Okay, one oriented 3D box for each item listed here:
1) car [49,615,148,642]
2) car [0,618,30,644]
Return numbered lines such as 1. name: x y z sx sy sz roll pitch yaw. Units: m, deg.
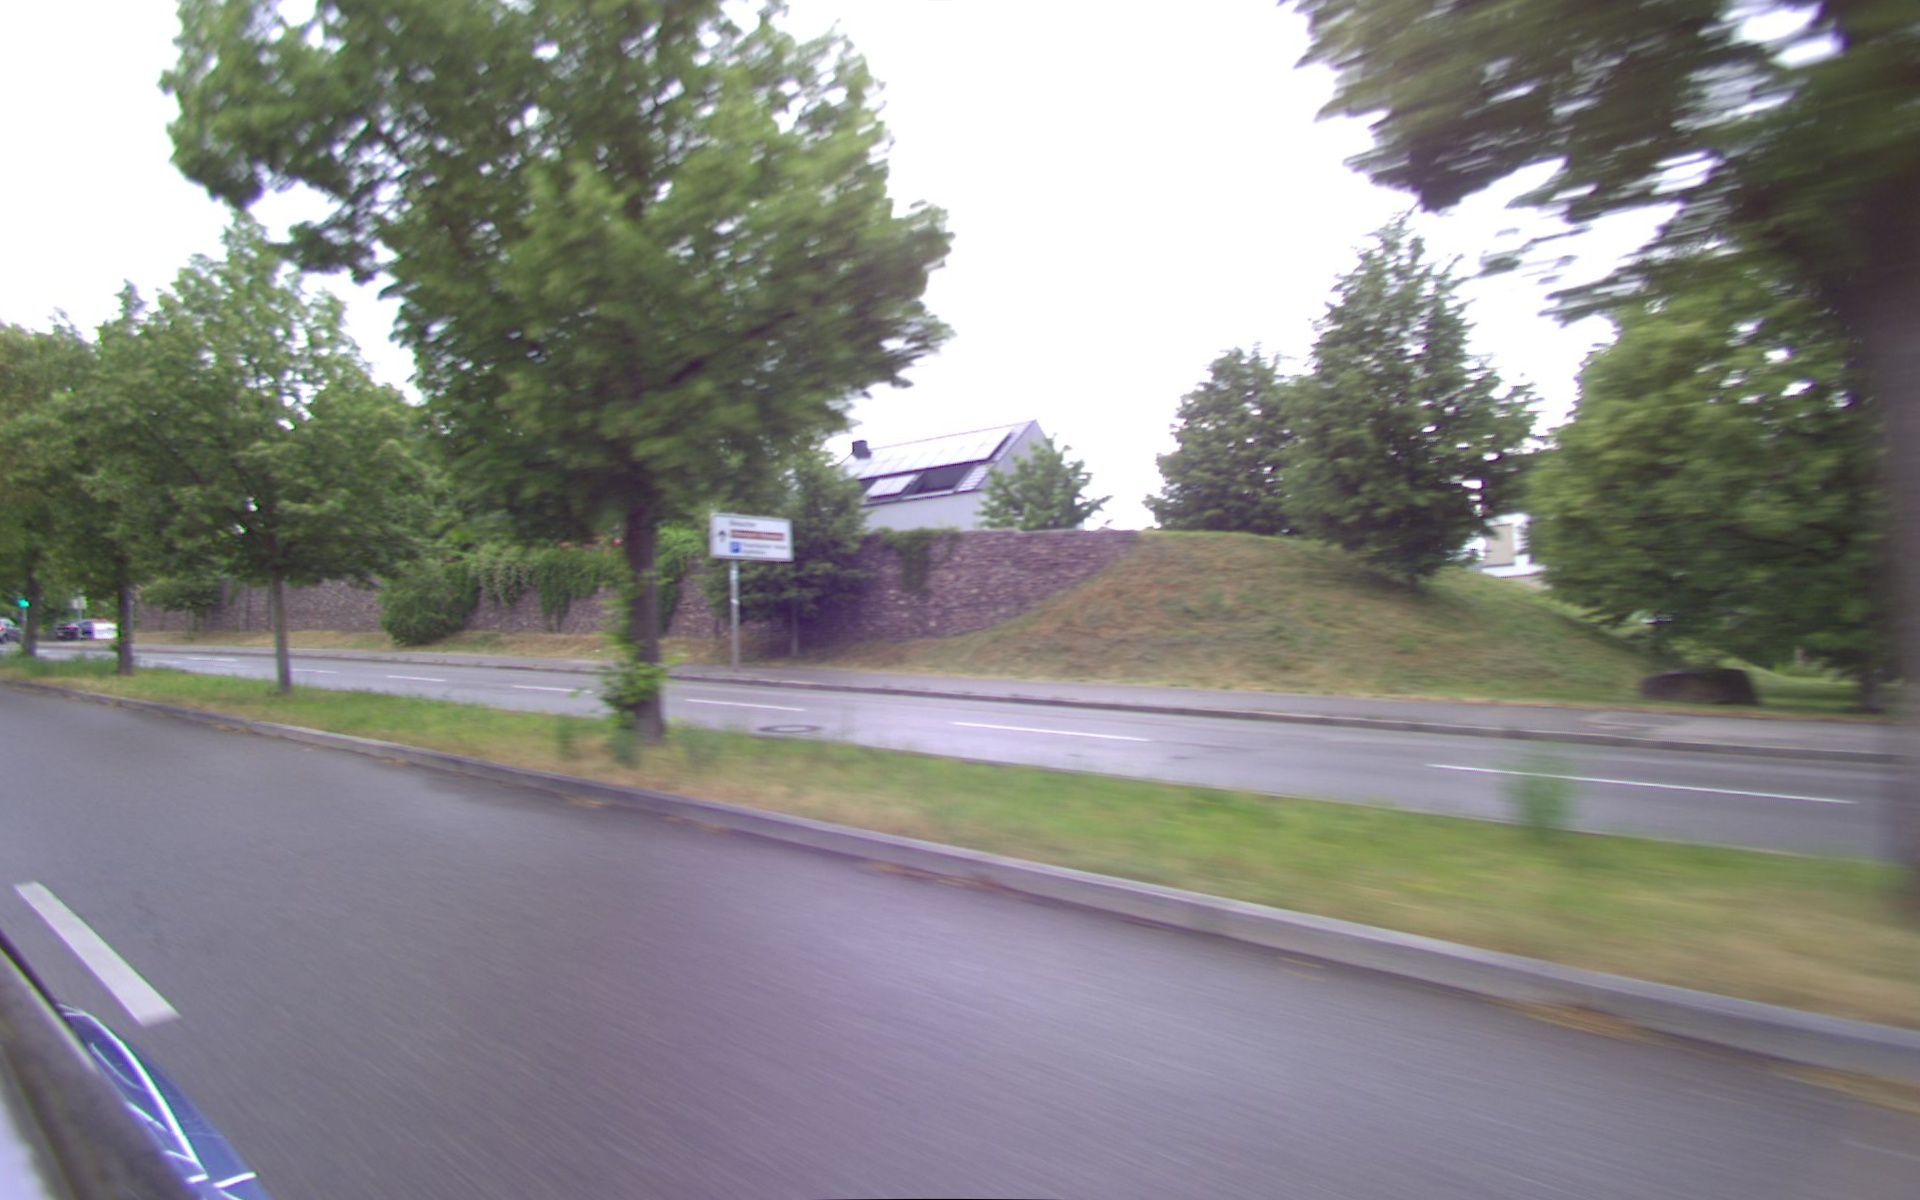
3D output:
1. car: -57.292 1.861 67.381 1.879 1.607 4.720 -1 0 29
2. car: -57.998 1.871 60.946 1.664 1.551 2.923 -1 -1 -12
